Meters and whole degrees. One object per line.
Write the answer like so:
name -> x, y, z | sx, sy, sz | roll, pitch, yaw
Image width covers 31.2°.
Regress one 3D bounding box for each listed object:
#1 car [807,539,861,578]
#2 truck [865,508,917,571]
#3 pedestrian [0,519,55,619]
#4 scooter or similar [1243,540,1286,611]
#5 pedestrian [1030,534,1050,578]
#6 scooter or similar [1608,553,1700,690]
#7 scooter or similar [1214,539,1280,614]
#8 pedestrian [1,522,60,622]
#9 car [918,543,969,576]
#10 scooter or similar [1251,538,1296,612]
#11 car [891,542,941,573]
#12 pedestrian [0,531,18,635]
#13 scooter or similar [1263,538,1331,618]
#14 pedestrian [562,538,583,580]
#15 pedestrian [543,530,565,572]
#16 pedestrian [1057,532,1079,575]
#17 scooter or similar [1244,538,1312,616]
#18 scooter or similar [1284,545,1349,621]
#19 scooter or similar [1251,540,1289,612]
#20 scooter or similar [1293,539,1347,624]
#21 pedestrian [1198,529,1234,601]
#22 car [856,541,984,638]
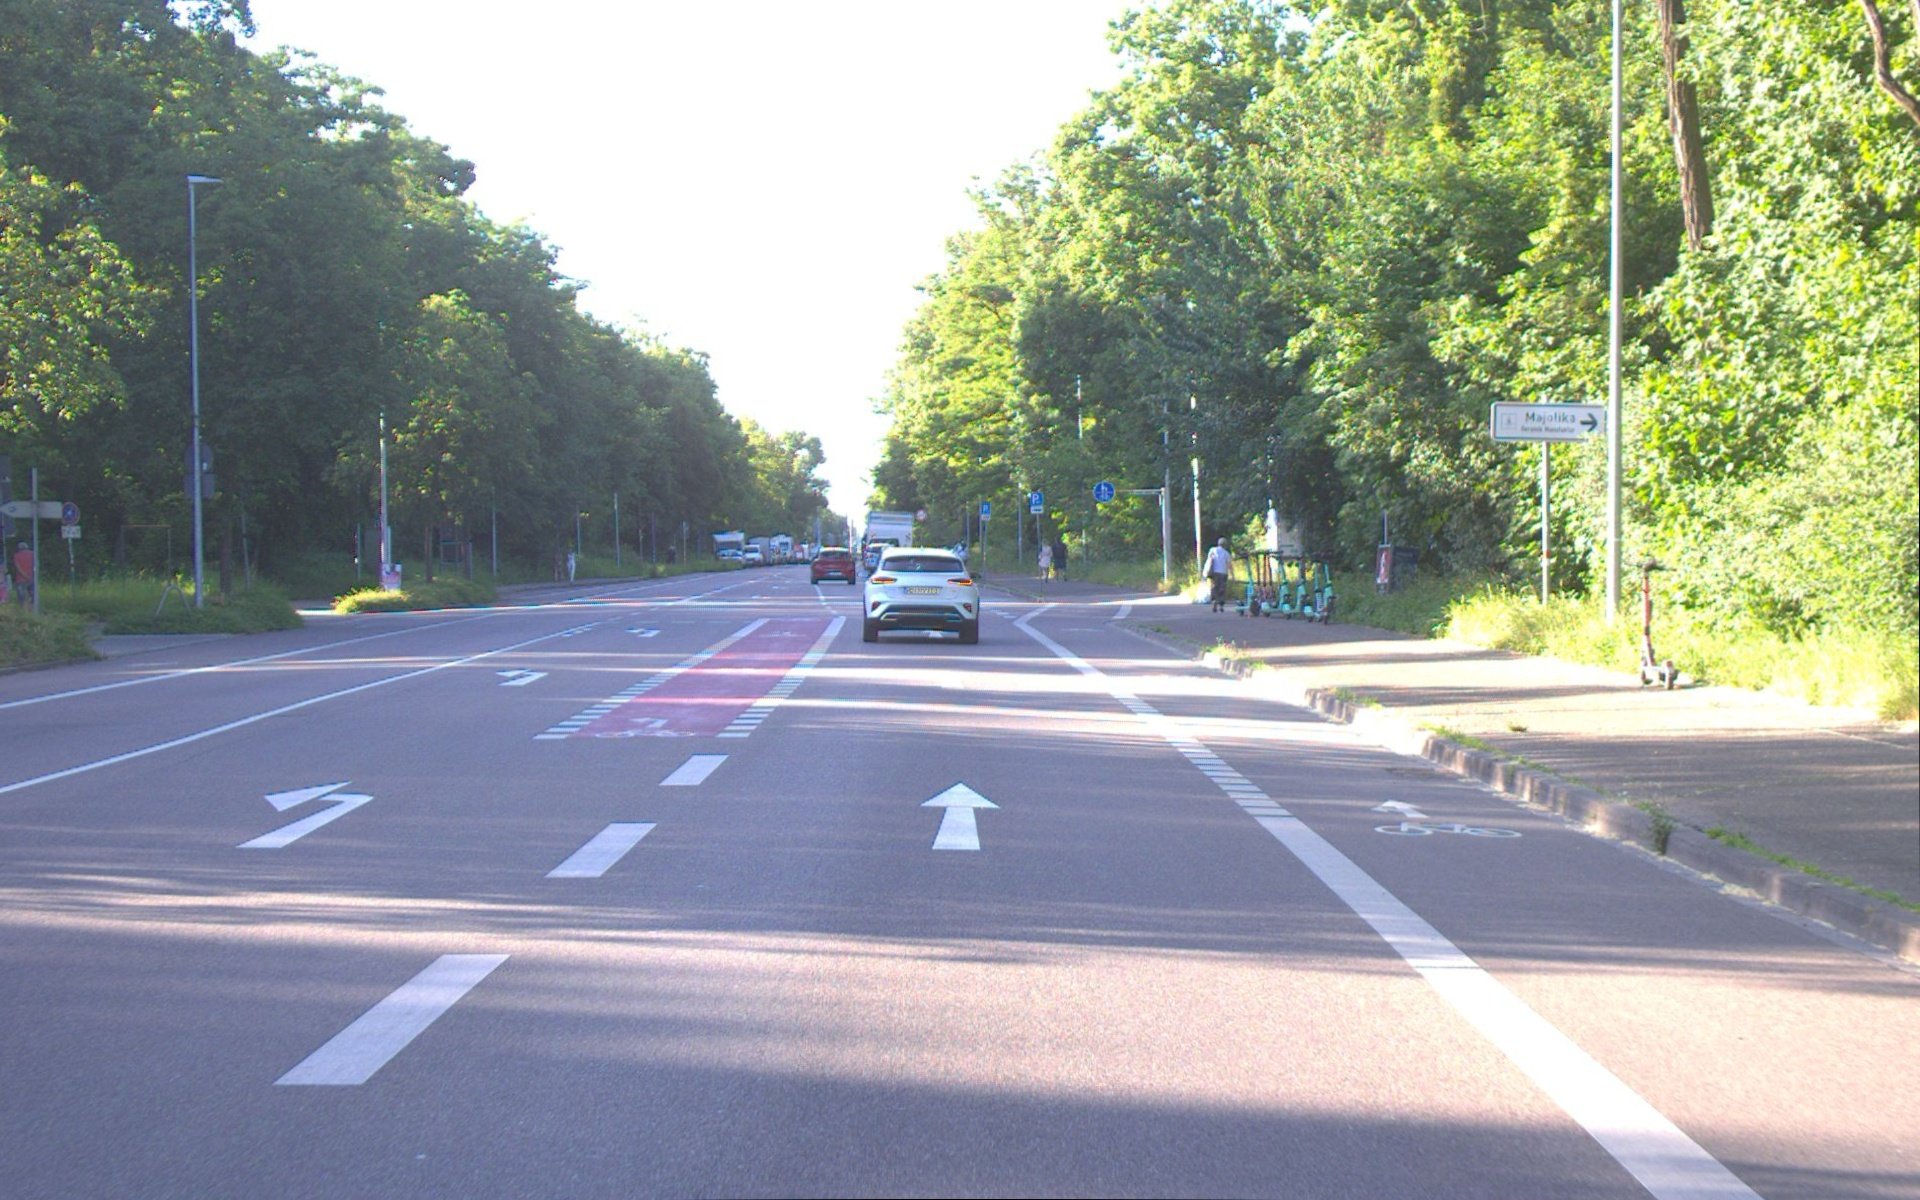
car -> -5.001, -1.665, 136.647 | 1.993, 1.514, 4.000 | -1, 1, 0
truck -> -4.029, -3.549, 200.063 | 2.799, 3.558, 8.036 | 1, 1, -2
pedestrian -> -18.819, -0.624, 69.365 | 0.718, 2.007, 0.746 | 0, 1, 30
scooter or similar -> 6.227, -0.510, 70.336 | 0.682, 1.418, 1.682 | -1, 1, -1
pedestrian -> 3.012, -1.673, 129.553 | 0.698, 1.647, 0.876 | -1, 1, -1
scooter or similar -> 6.551, 0.187, 32.506 | 0.533, 1.245, 1.541 | -1, 1, -1
scooter or similar -> 5.503, -0.460, 65.967 | 0.682, 1.418, 1.682 | -1, 1, -16
pedestrian -> -18.764, -0.563, 69.433 | 0.718, 2.007, 0.873 | 0, 1, 30
car -> -0.682, -1.671, 140.646 | 1.993, 1.322, 4.000 | -1, 1, -1
scooter or similar -> 6.126, -0.499, 67.283 | 0.682, 1.418, 1.682 | -1, 1, -1
car -> -2.029, -1.937, 156.334 | 1.993, 1.322, 4.001 | -1, 1, -4
pedestrian -> -18.955, -0.330, 67.126 | 0.718, 2.007, 0.796 | 0, 1, 27
scooter or similar -> 6.090, -0.403, 62.220 | 0.682, 1.418, 1.682 | -1, 1, -14
pedestrian -> -18.642, -1.964, 165.284 | 0.831, 2.007, 1.269 | -1, 1, 1
pedestrian -> -19.527, -2.376, 165.292 | 0.863, 2.007, 1.269 | -1, 1, 1
pedestrian -> 4.060, -1.748, 129.581 | 0.743, 1.593, 0.798 | -1, 1, -1
scooter or similar -> 5.937, -0.437, 64.291 | 0.682, 1.418, 1.682 | -1, 1, -16
scooter or similar -> 6.236, -0.303, 60.124 | 0.465, 1.302, 1.481 | -1, 1, -23
scooter or similar -> 6.206, -0.490, 68.796 | 0.682, 1.418, 1.245 | -1, 1, 7
scooter or similar -> 6.090, -0.327, 58.268 | 0.682, 1.418, 1.682 | -1, 1, -1
pedestrian -> 5.588, -0.759, 75.127 | 0.755, 1.558, 0.802 | -1, 1, 4
car -> -0.674, -0.196, 54.927 | 1.761, 1.454, 3.818 | 1, 1, -5
